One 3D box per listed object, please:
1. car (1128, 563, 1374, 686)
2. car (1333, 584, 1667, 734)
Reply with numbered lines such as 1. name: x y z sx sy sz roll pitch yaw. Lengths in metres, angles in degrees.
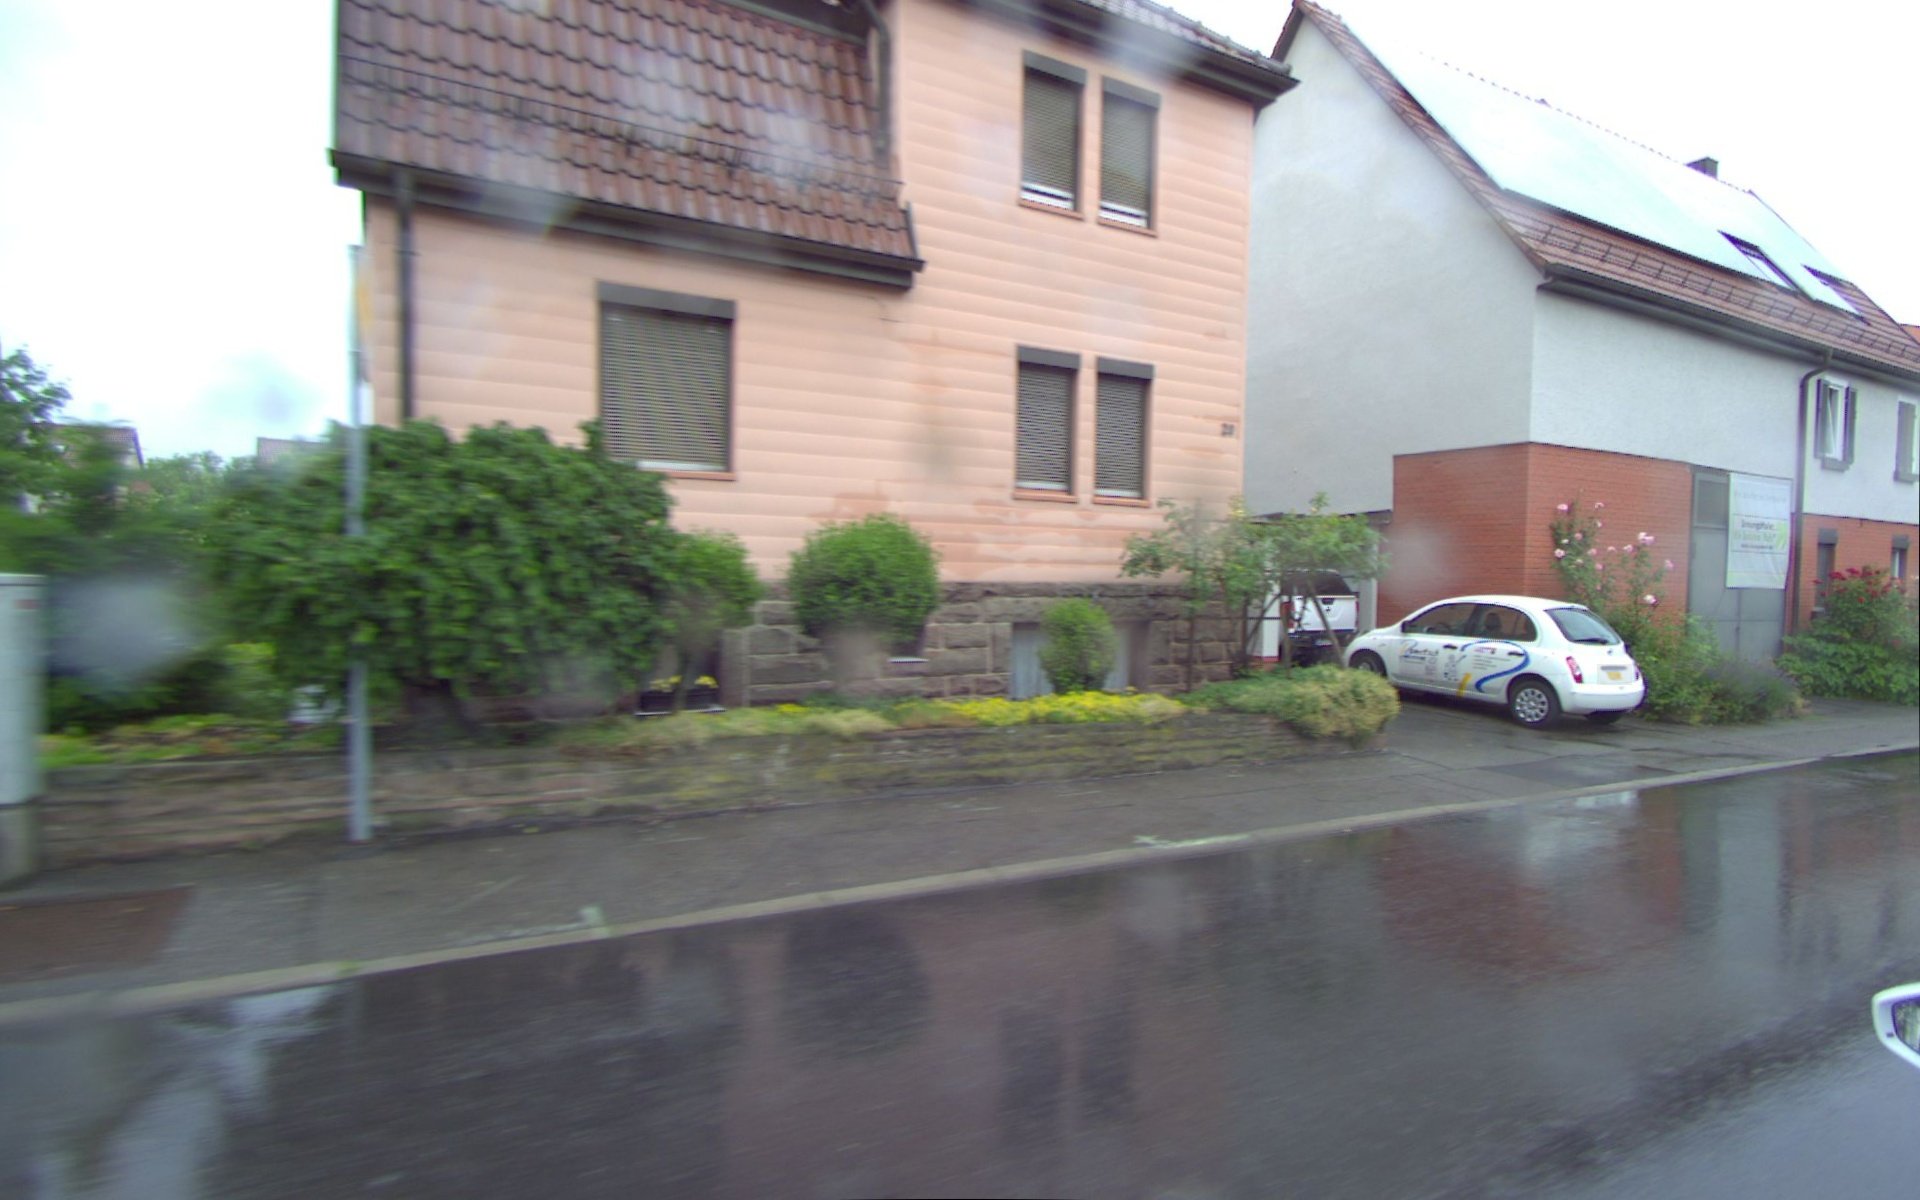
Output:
1. car: 4.933 0.331 17.572 1.738 1.787 3.966 1 3 -31
2. car: 6.976 0.663 13.334 1.643 1.550 3.528 1 3 -29
